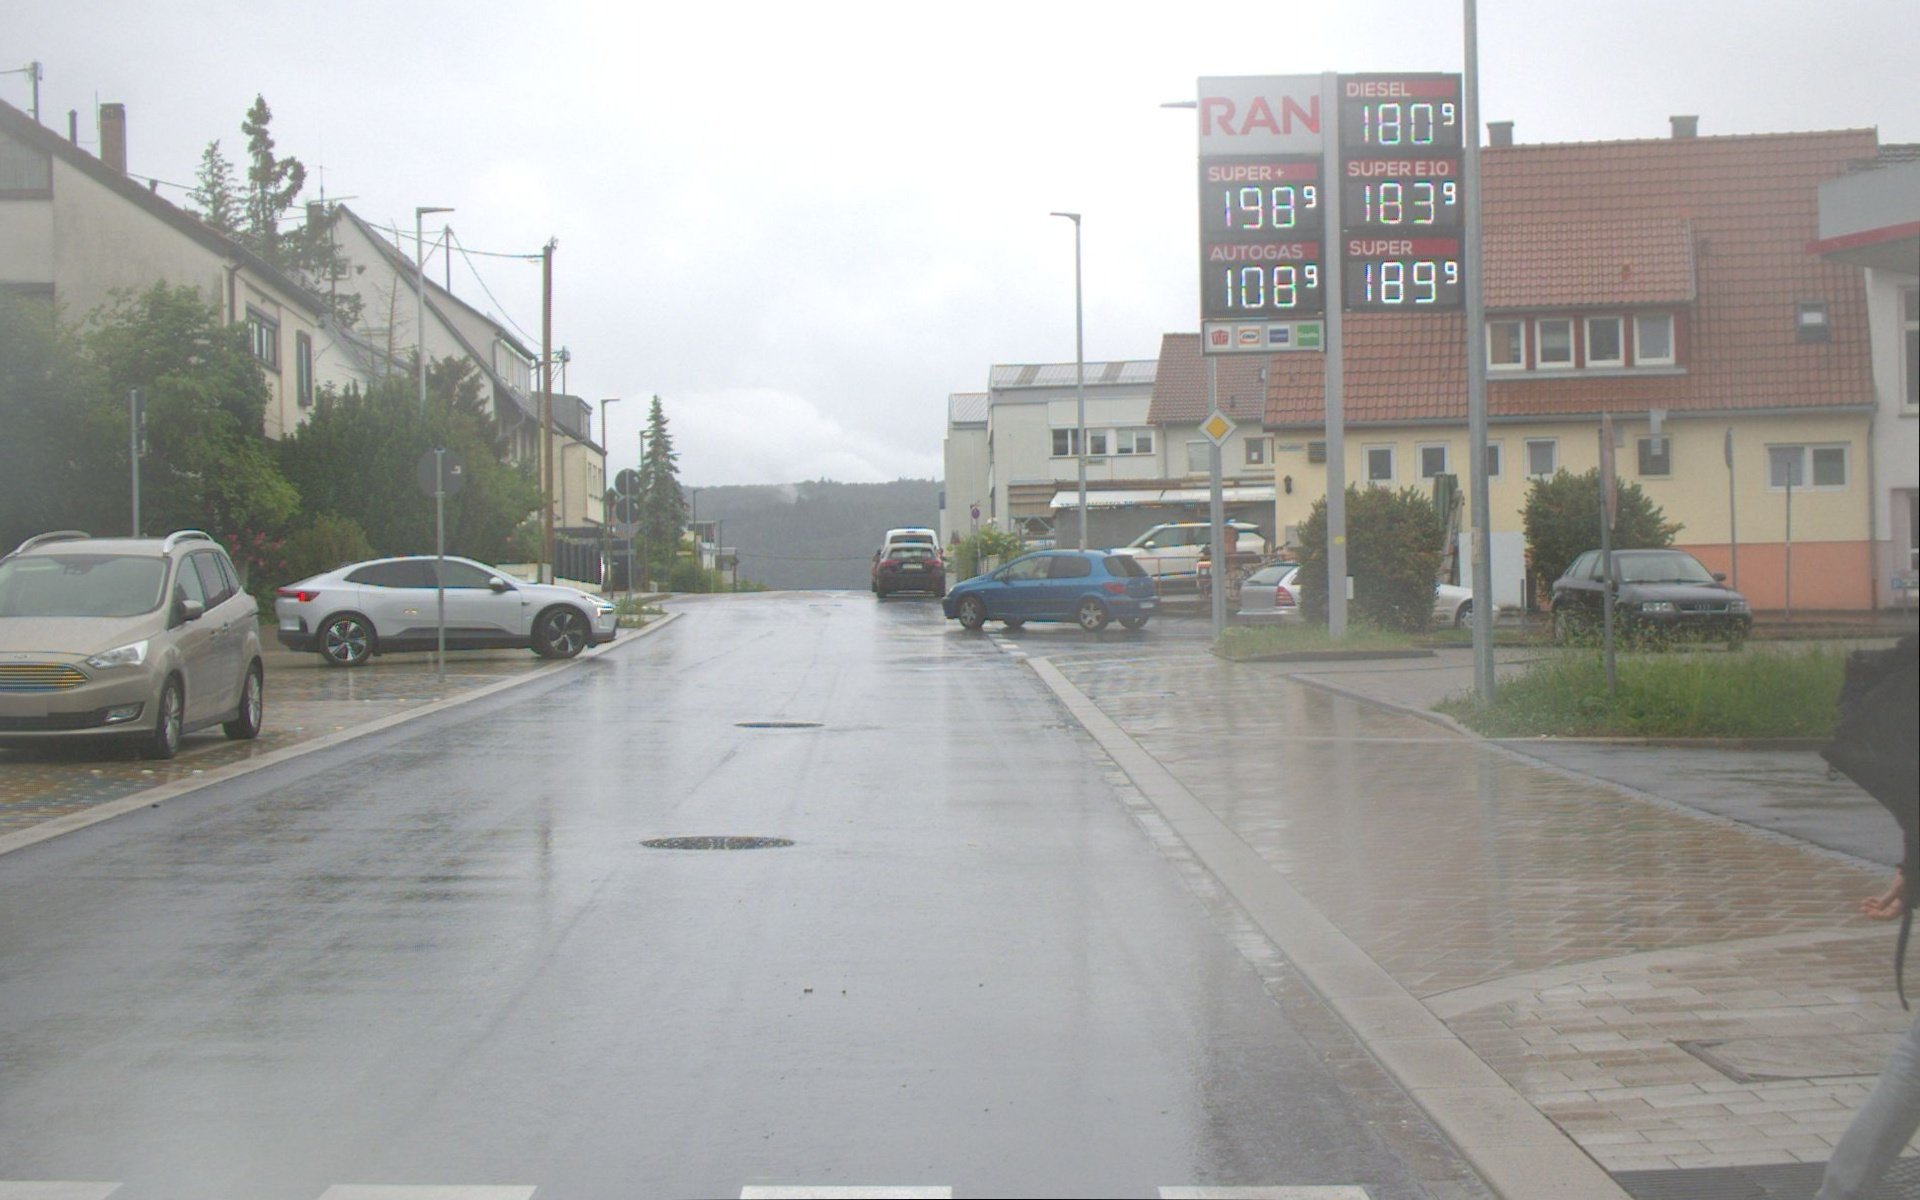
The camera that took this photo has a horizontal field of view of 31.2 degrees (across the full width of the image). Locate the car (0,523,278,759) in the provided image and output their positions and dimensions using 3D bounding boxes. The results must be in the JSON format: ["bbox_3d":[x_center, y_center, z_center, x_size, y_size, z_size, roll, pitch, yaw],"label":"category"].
[{"bbox_3d":[-6.580,0.267,26.061,1.993,1.623,4.153,-1,1,0],"label":"car"}]

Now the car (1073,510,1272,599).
[{"bbox_3d":[4.661,-0.993,75.763,4.112,1.700,1.789,3,-1,-3],"label":"car"}]

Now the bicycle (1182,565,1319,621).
[{"bbox_3d":[5.811,-0.154,69.144,0.668,1.063,3.629,4,-2,-31],"label":"bicycle"}]

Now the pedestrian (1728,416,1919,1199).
[{"bbox_3d":[2.125,0.513,6.799,1.013,1.718,0.772,0,0,-3],"label":"pedestrian"}]

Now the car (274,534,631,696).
[{"bbox_3d":[-7.270,0.233,49.135,4.751,2.007,2.000,3,-1,-14],"label":"car"}]

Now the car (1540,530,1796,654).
[{"bbox_3d":[9.779,-0.083,47.810,1.993,1.547,4.001,3,-1,-12],"label":"car"}]

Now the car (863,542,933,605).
[{"bbox_3d":[-1.862,-0.779,104.385,1.993,1.700,4.000,3,-1,0],"label":"car"}]

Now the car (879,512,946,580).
[{"bbox_3d":[-1.340,-1.529,98.323,1.783,1.700,4.000,3,-1,0],"label":"car"}]

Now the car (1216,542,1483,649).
[{"bbox_3d":[6.535,-0.067,57.659,3.986,1.550,1.955,4,-2,-28],"label":"car"}]

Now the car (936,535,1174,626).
[{"bbox_3d":[1.768,-0.372,64.314,3.994,1.488,1.854,2,-2,31],"label":"car"}]

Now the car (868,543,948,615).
[{"bbox_3d":[-1.368,-0.542,91.570,1.993,1.700,4.000,3,-1,0],"label":"car"}]
